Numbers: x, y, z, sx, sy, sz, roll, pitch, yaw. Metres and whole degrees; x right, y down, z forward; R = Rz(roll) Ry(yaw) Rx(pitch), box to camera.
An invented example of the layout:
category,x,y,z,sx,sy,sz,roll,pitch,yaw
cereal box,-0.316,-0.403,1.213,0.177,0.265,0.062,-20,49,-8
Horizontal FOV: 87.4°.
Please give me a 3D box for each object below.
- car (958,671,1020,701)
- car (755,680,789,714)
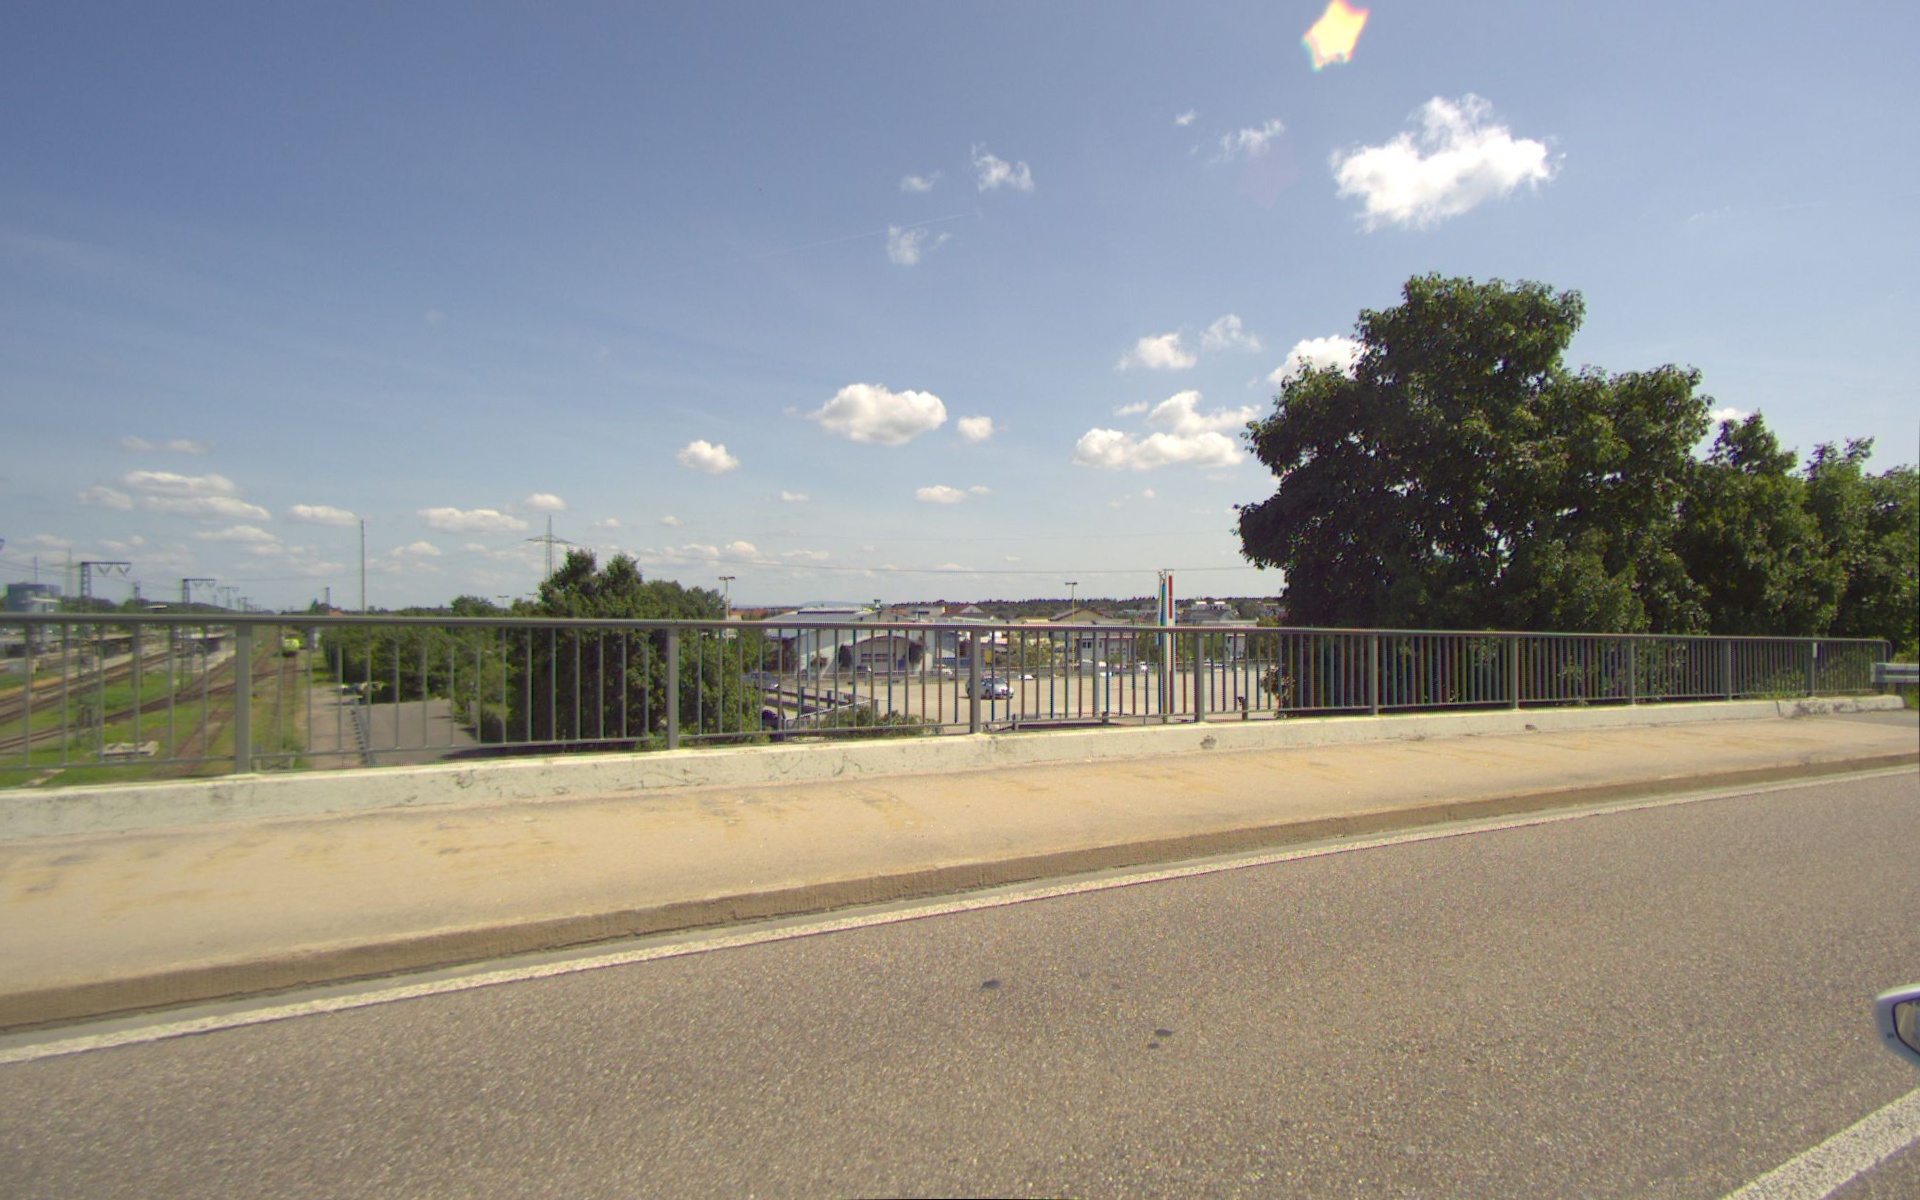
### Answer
category,x,y,z,sx,sy,sz,roll,pitch,yaw
car,1.857,5.540,65.080,1.891,1.770,3.956,2,-3,-39
car,-13.838,7.104,73.798,1.968,2.040,3.984,0,0,-18
